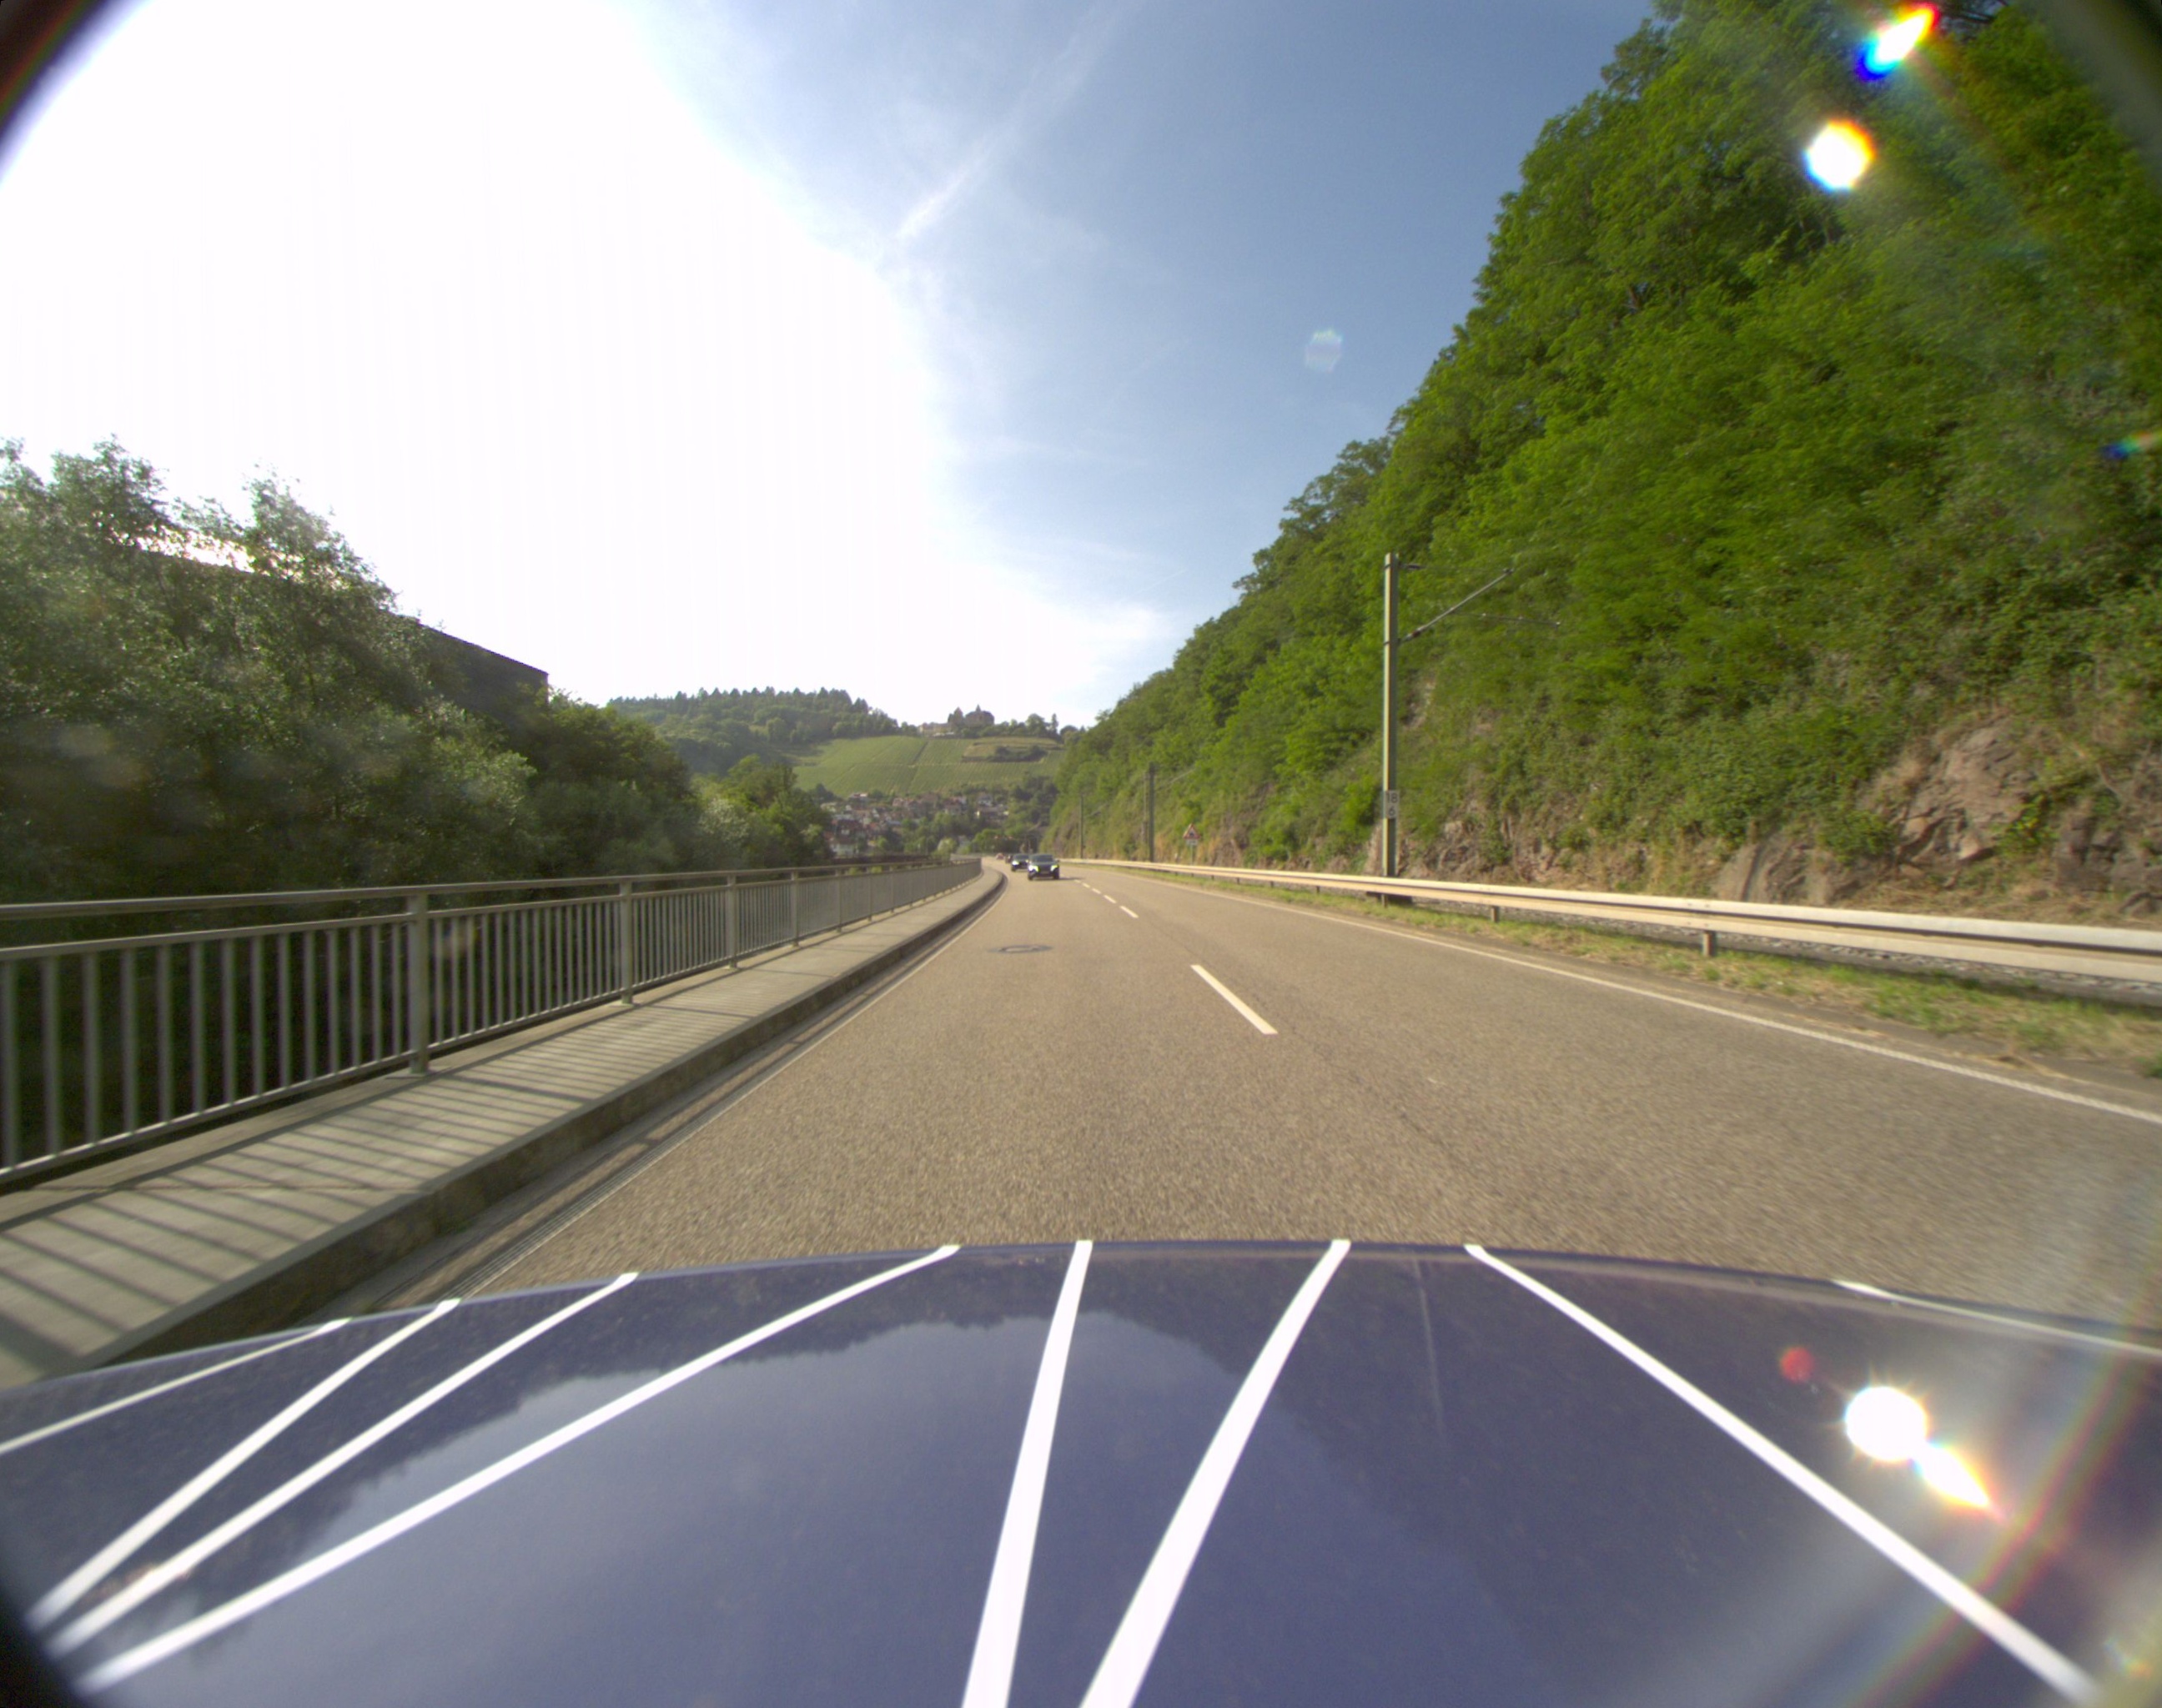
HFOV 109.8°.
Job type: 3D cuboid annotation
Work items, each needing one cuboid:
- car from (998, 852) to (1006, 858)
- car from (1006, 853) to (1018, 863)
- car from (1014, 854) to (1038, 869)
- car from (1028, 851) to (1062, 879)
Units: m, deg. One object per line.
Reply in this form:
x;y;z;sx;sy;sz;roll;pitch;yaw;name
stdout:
-21.693;0.243;209.132;1.854;1.535;4.599;-1;0;-11;car
-10.942;0.642;120.404;1.853;1.431;3.895;-1;-1;-7;car
-5.151;0.681;70.771;2.000;1.384;3.997;2;0;-7;car
-2.263;0.673;47.523;1.864;1.576;3.997;-3;1;-5;car
